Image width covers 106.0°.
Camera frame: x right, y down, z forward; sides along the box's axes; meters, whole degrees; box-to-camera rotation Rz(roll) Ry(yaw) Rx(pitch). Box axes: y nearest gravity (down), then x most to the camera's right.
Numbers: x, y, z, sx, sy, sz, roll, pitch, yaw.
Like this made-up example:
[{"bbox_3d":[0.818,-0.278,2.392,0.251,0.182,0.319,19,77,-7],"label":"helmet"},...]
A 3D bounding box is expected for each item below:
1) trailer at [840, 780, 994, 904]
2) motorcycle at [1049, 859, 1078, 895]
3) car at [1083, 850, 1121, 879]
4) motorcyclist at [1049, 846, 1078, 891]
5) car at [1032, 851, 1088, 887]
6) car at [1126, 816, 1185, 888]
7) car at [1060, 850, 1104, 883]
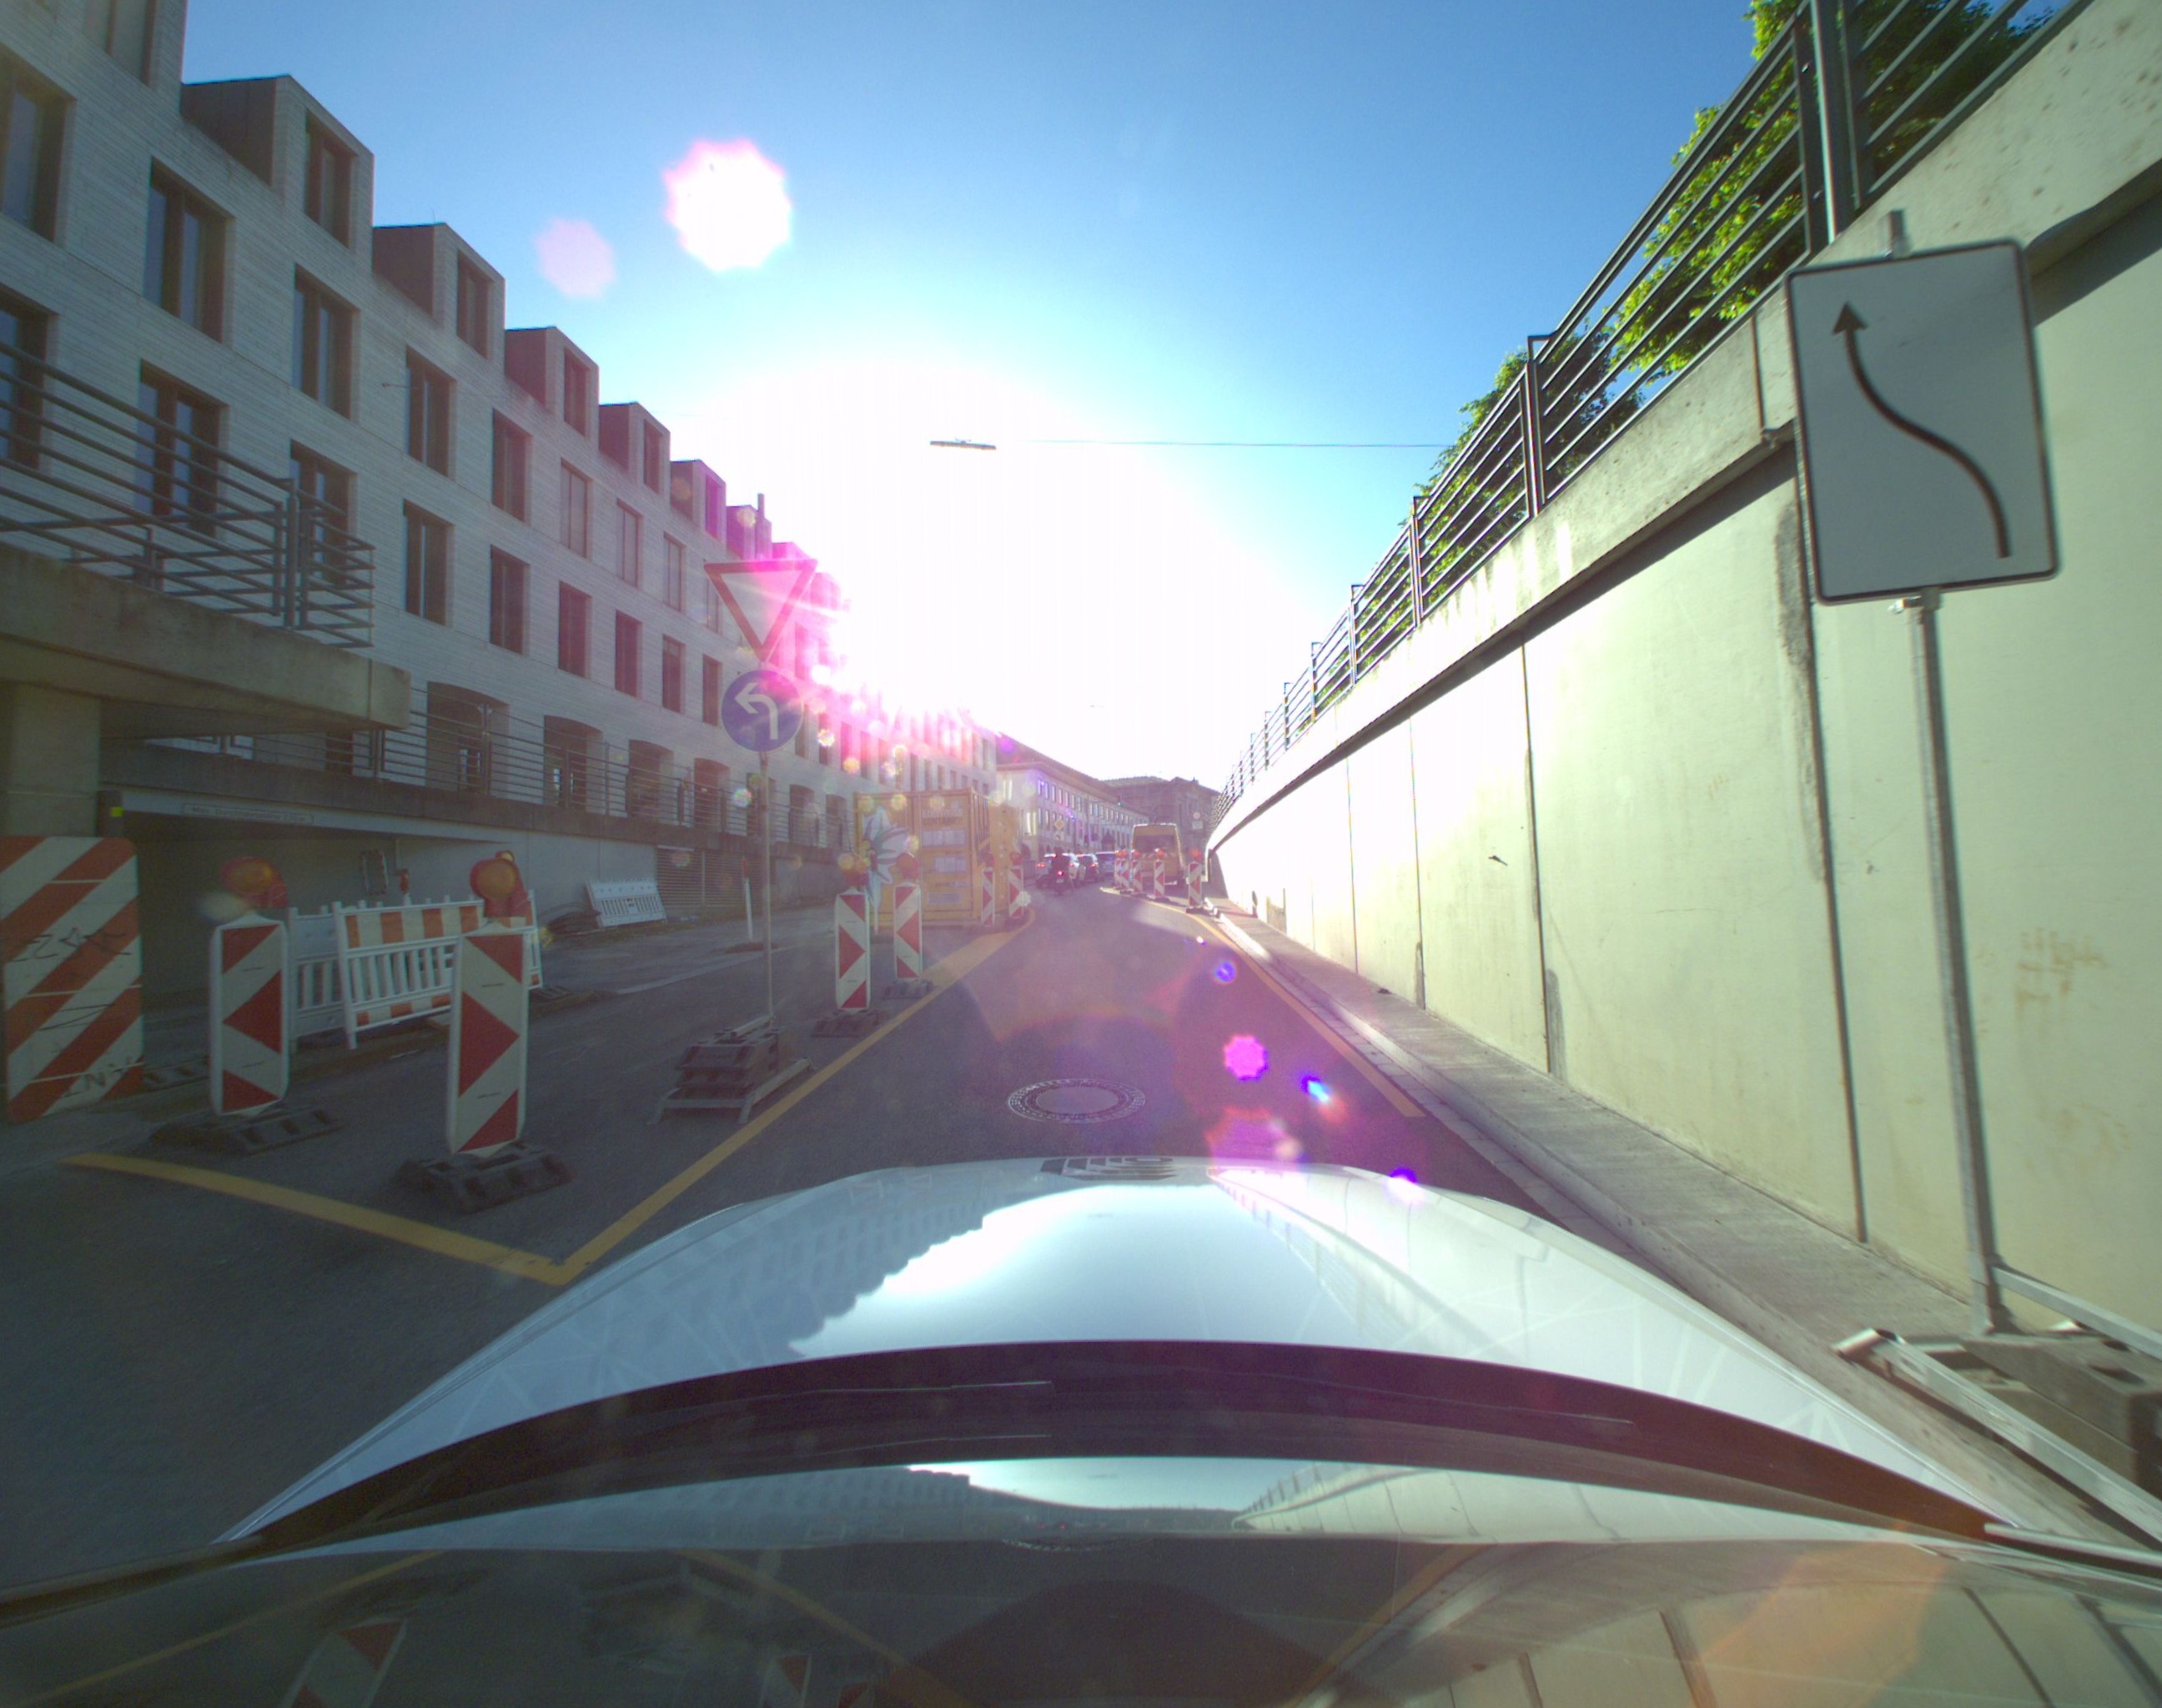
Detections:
[{"bbox_3d":[-5.676,-0.372,30.150,2.628,3.669,8.765,-6,-1,7],"label":"trailer"},{"bbox_3d":[-0.655,0.787,29.004,0.904,1.183,2.575,-1,1,-4],"label":"motorcycle"},{"bbox_3d":[1.389,0.629,51.520,1.792,1.721,4.174,-2,0,10],"label":"car"},{"bbox_3d":[-0.630,0.486,29.001,0.952,1.559,1.237,-1,0,-4],"label":"motorcyclist"},{"bbox_3d":[-0.872,0.607,35.747,1.849,1.472,4.008,-1,0,7],"label":"car"},{"bbox_3d":[3.218,-0.051,33.896,2.100,2.624,7.001,-2,0,7],"label":"car"},{"bbox_3d":[0.118,0.677,42.091,1.765,1.550,4.113,-2,-2,7],"label":"car"}]
